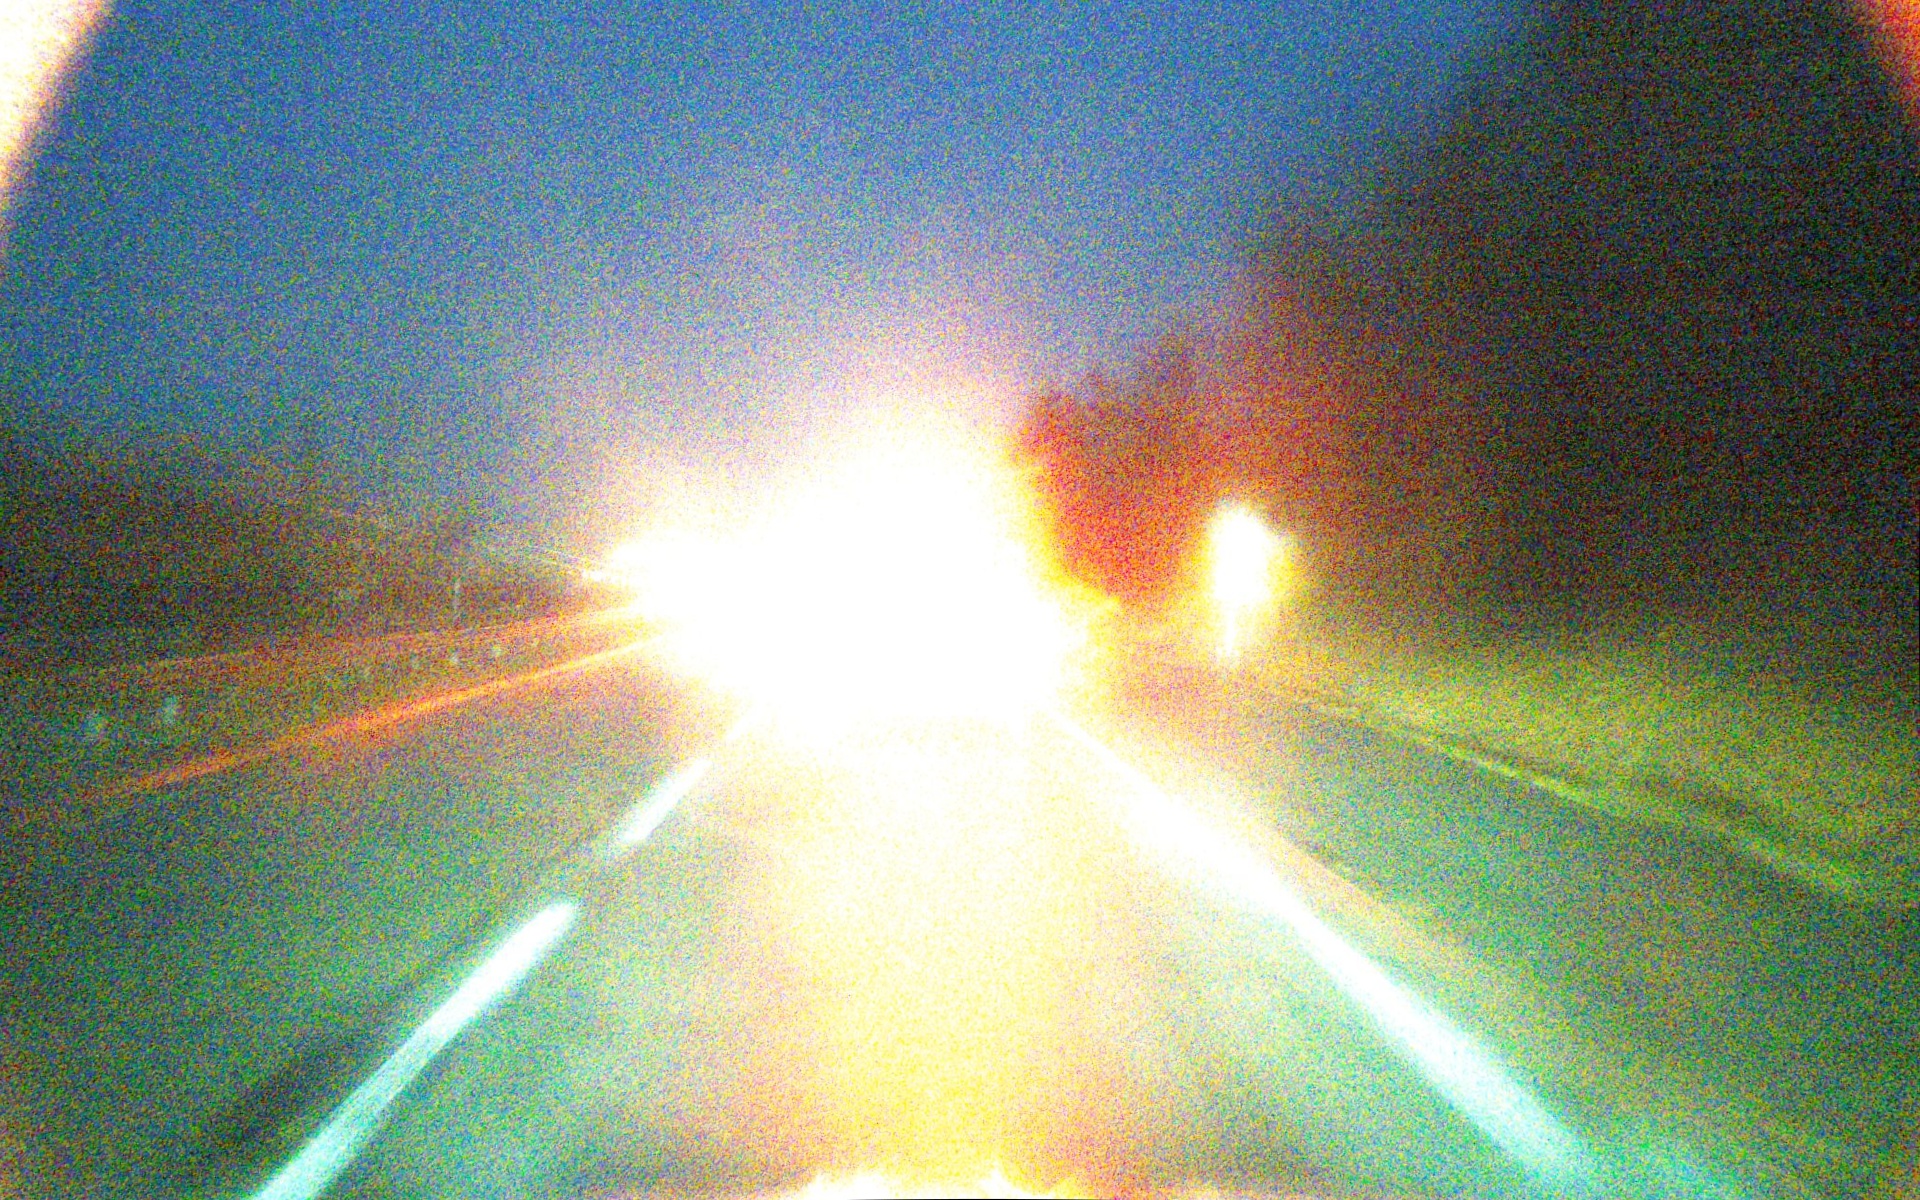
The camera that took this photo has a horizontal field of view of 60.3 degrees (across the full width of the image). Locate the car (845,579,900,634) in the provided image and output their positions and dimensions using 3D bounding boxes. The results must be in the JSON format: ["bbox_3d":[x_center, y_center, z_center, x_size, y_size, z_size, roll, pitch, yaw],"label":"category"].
[{"bbox_3d":[-3.214,0.221,61.186,1.954,1.948,3.998,0,0,-3],"label":"car"}]

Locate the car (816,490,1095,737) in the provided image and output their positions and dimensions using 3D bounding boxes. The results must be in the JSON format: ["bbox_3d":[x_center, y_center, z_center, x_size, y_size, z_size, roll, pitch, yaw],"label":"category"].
[{"bbox_3d":[-0.192,0.099,18.943,2.661,2.348,6.097,1,1,-3],"label":"car"}]
